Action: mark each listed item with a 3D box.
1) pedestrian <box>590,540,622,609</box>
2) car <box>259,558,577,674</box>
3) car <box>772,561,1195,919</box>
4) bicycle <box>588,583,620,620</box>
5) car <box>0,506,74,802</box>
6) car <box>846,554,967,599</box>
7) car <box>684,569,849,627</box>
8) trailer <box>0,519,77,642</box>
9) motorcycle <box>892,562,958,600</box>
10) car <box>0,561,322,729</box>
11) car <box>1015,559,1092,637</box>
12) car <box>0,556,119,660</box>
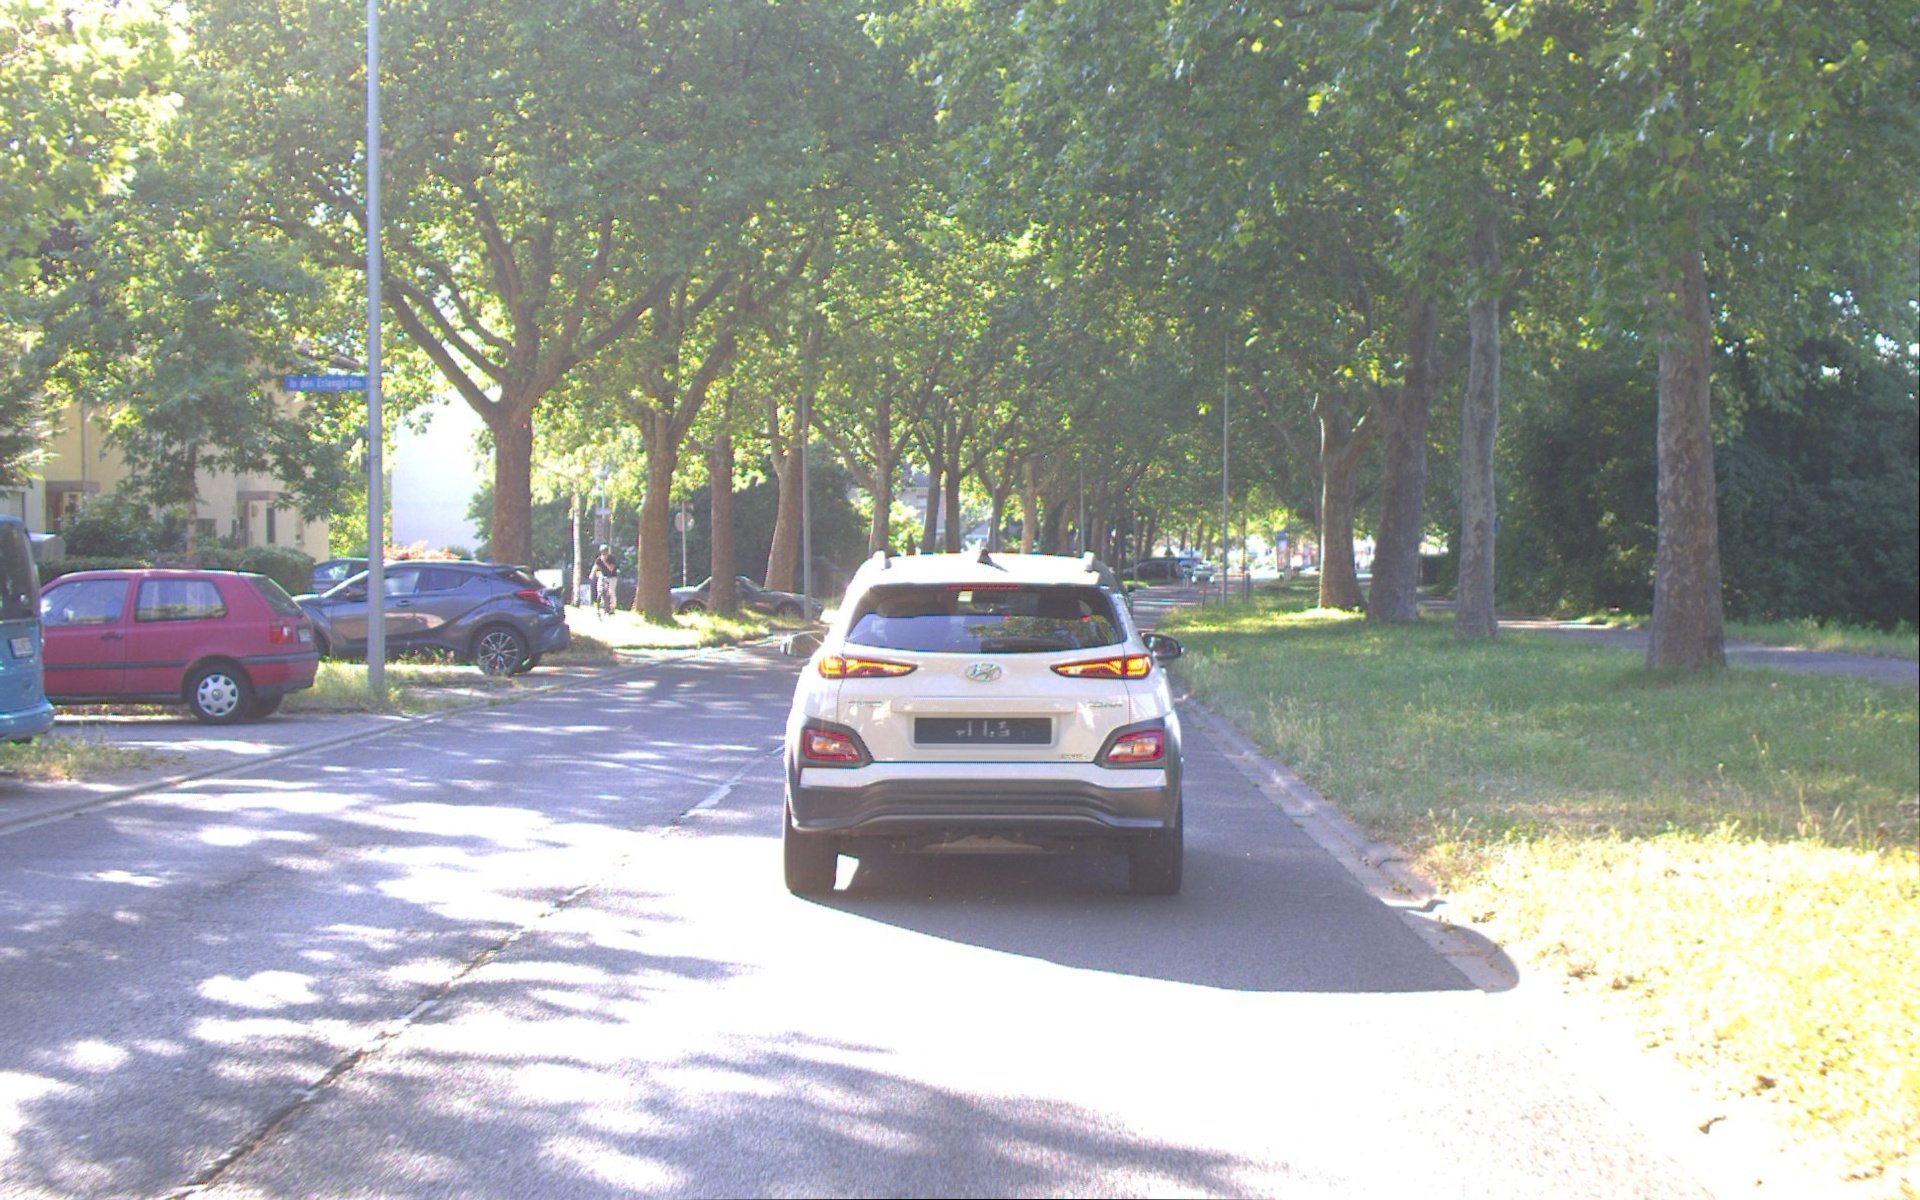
[{"bbox_3d":[-8.807,-0.632,85.552,0.617,1.710,1.065,0,0,3],"label":"pedestrian"},{"bbox_3d":[-7.198,0.199,45.898,3.988,1.513,1.817,0,1,-1],"label":"car"},{"bbox_3d":[0.034,0.595,16.936,1.835,1.550,4.000,0,0,-2],"label":"car"},{"bbox_3d":[-8.857,0.031,85.579,0.470,0.877,2.155,0,0,3],"label":"bicycle"},{"bbox_3d":[-8.107,0.314,22.006,4.385,1.818,1.996,0,1,-1],"label":"car"},{"bbox_3d":[-1.884,-0.836,121.670,4.183,1.579,2.000,0,0,2],"label":"car"},{"bbox_3d":[-4.731,-0.065,84.288,3.826,1.312,1.790,1,0,3],"label":"car"},{"bbox_3d":[-16.620,-0.407,56.949,3.453,1.919,1.643,4,2,2],"label":"trailer"},{"bbox_3d":[-1.254,-0.695,124.204,2.385,1.383,0.648,0,1,1],"label":"motorcycle"},{"bbox_3d":[-8.026,0.403,32.034,3.871,1.513,1.665,0,1,-1],"label":"car"},{"bbox_3d":[2.085,-0.067,76.816,1.676,1.690,3.745,0,1,1],"label":"car"},{"bbox_3d":[-15.461,0.048,53.792,3.987,1.471,2.000,4,1,3],"label":"car"}]
